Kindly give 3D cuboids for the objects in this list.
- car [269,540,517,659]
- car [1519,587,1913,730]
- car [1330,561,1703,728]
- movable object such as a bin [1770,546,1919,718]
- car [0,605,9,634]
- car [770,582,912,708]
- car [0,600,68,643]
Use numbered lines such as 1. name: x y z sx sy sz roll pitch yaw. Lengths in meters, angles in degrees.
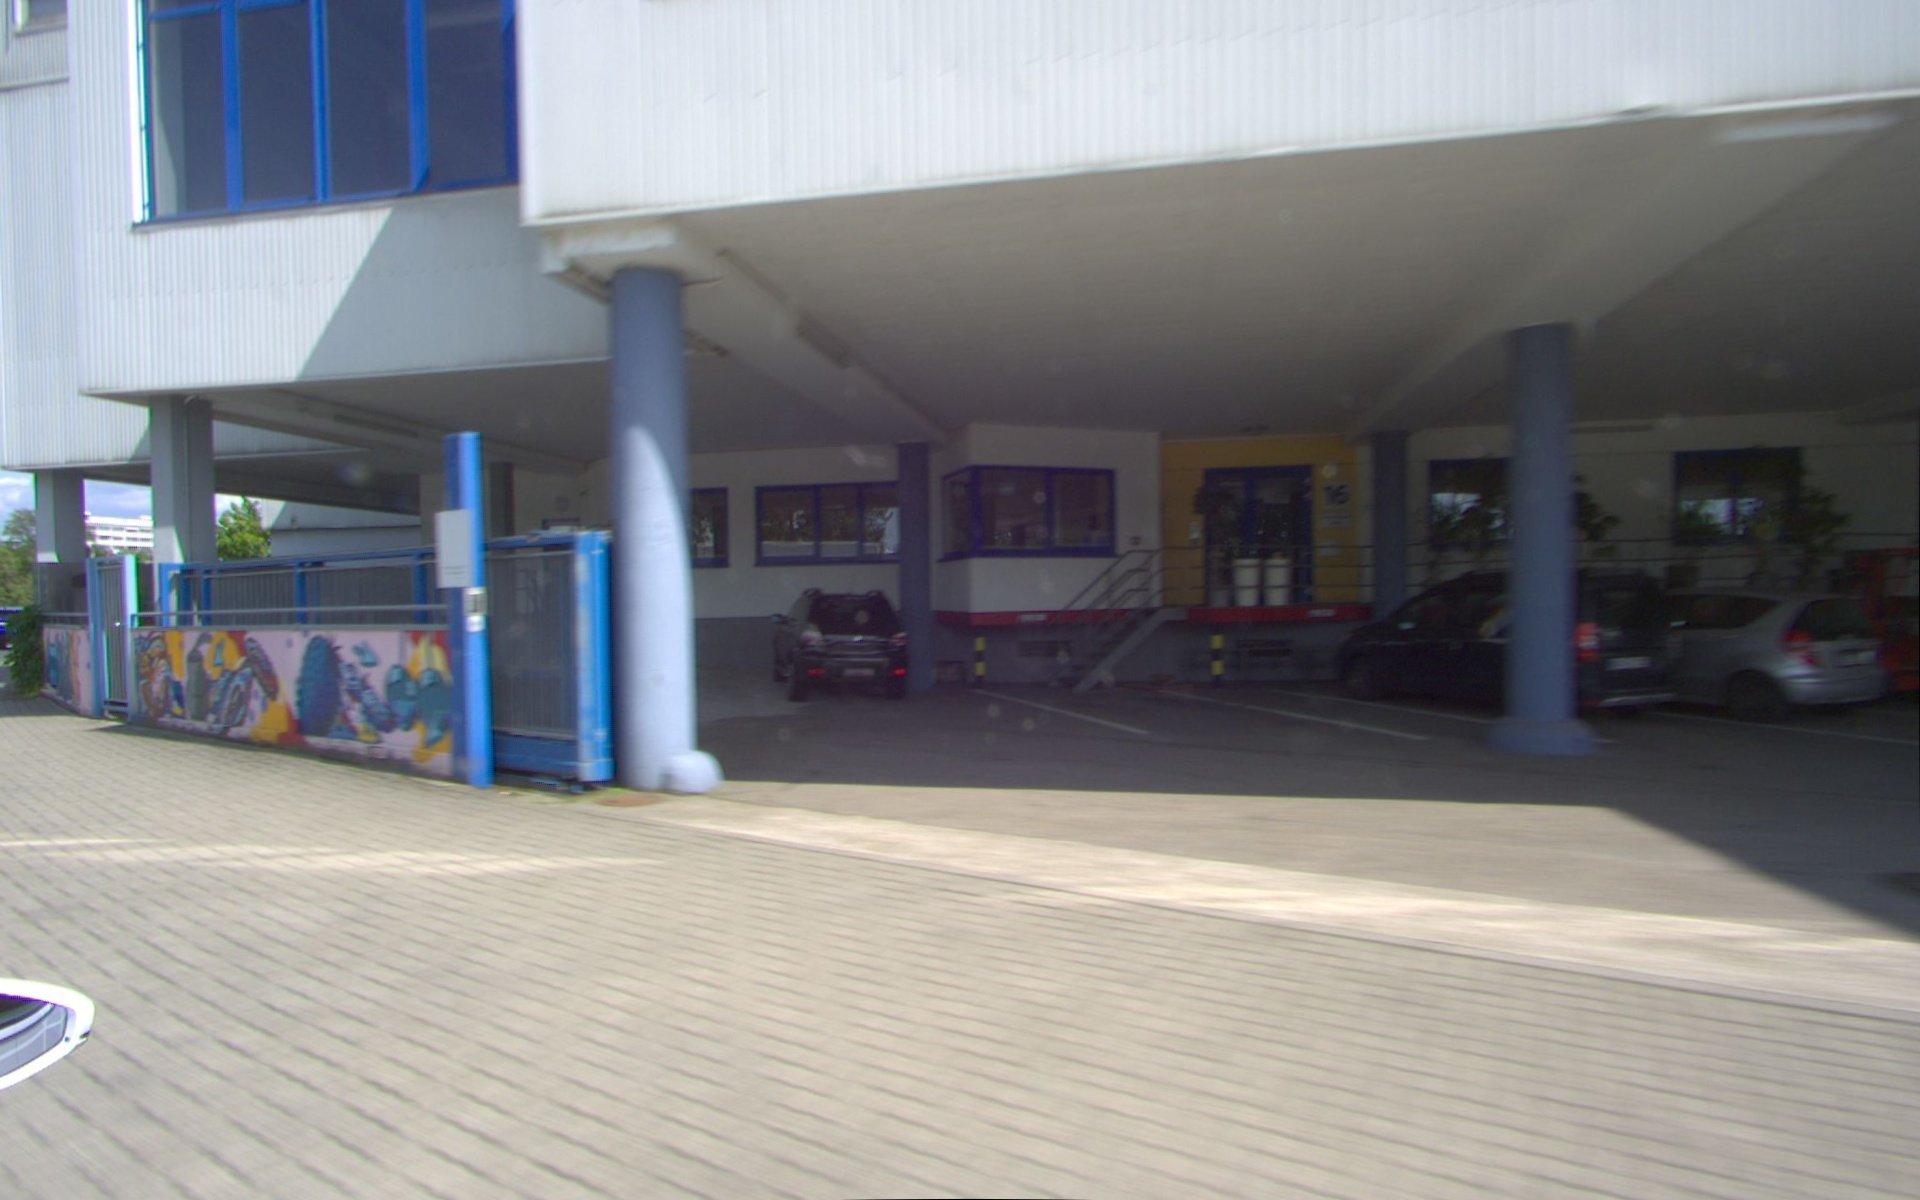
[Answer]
1. car: -10.774 0.090 19.184 1.978 2.038 3.696 -3 -4 41
2. car: 9.531 0.648 12.978 1.812 1.566 3.651 1 0 -22
3. car: 6.957 0.515 13.051 1.730 1.804 4.093 1 -1 -21
4. movable object such as a bin: 12.429 0.399 12.456 1.411 2.112 3.426 1 -1 -21
5. car: -53.664 1.079 52.740 1.716 1.590 4.876 -1 -1 29
6. car: -1.982 0.606 15.757 1.641 1.681 3.654 1 2 -16
7. car: -37.886 0.878 40.554 1.890 1.614 4.673 0 -1 -33
